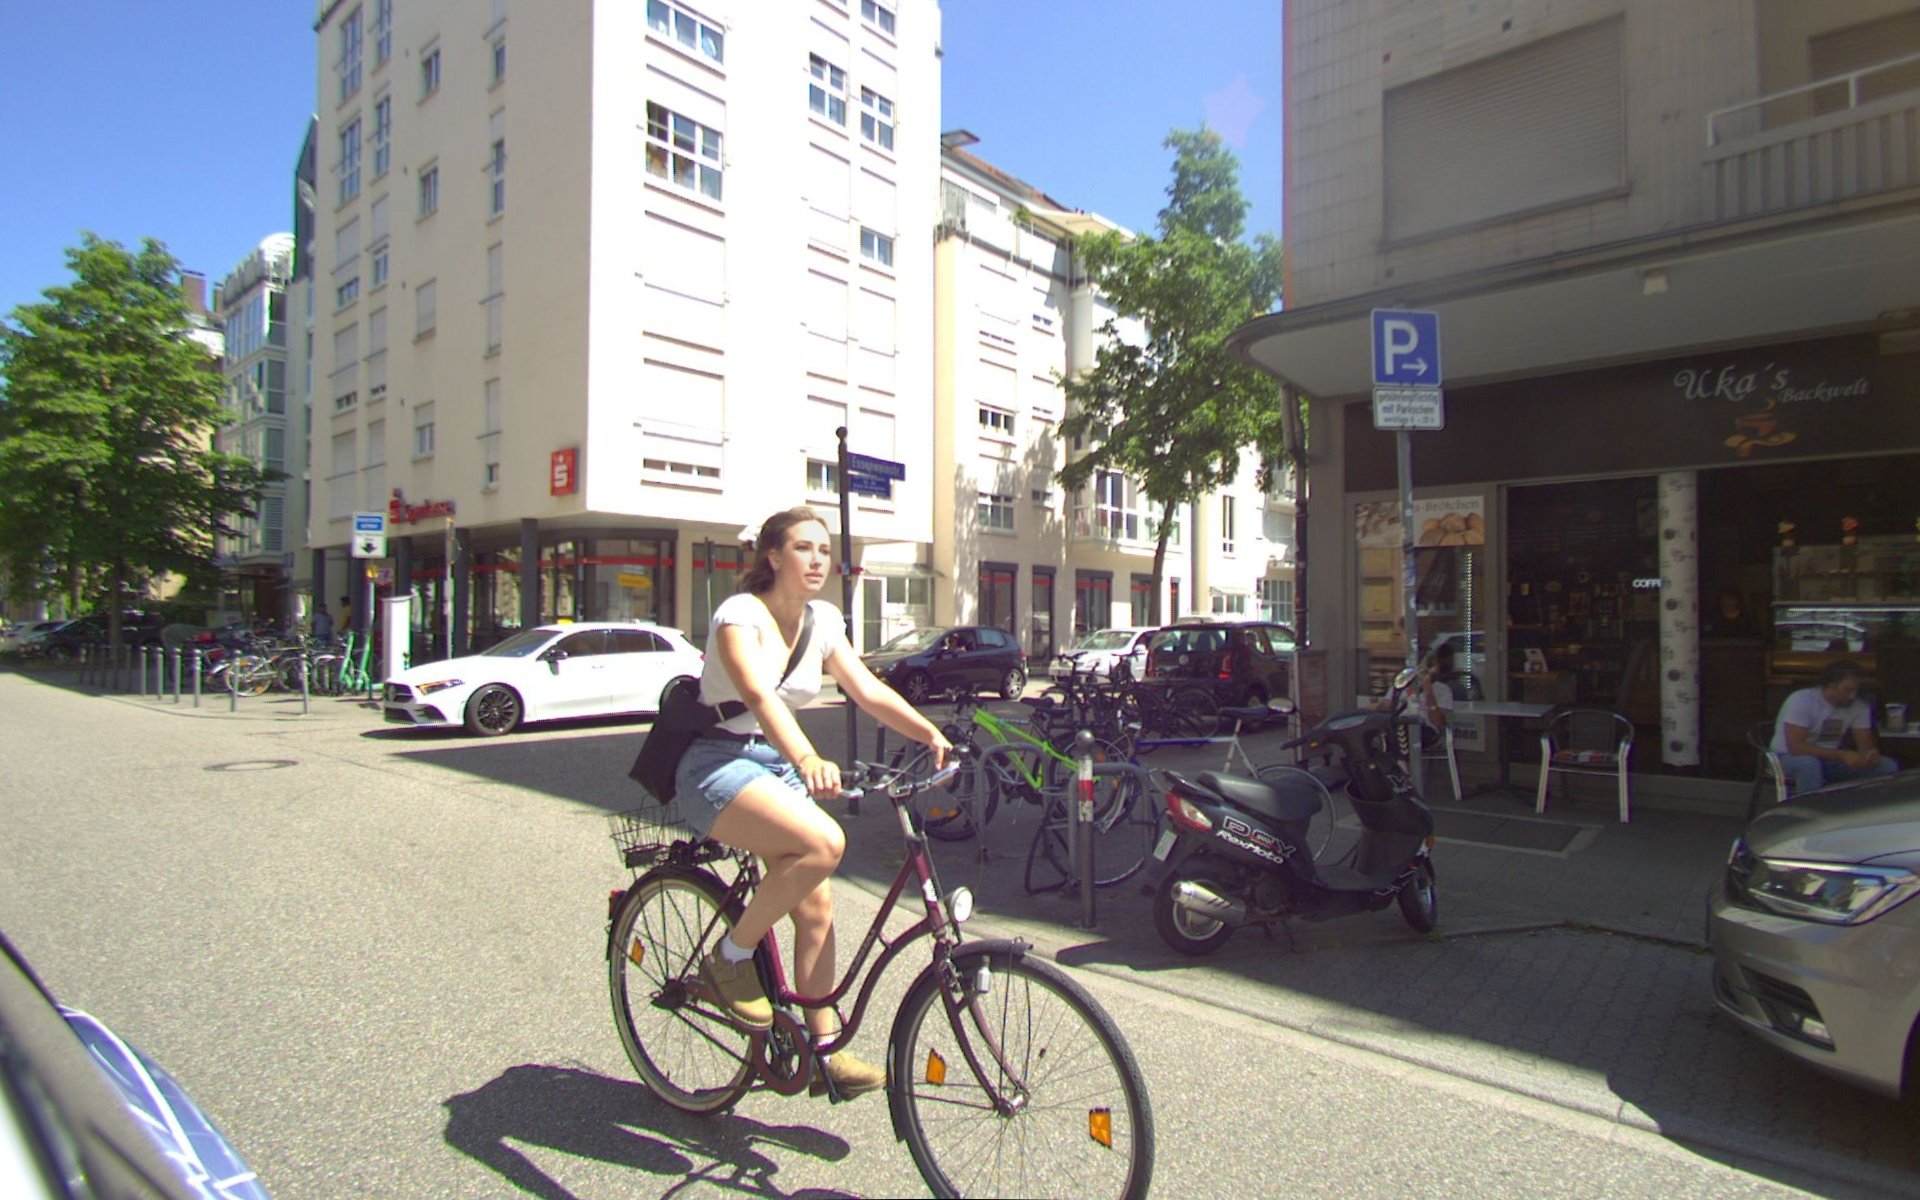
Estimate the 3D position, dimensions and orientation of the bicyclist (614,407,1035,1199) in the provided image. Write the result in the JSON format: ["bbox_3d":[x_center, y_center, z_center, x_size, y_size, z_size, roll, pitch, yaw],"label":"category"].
[{"bbox_3d":[-0.374,0.462,2.688,0.978,1.719,0.616,-1,-2,41],"label":"bicyclist"}]

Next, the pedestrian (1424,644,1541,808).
[{"bbox_3d":[4.084,0.947,7.915,0.698,1.189,0.585,-1,-2,39],"label":"pedestrian"}]

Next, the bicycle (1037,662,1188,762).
[{"bbox_3d":[1.657,1.205,11.195,1.711,0.964,0.405,-1,-1,42],"label":"bicycle"}]

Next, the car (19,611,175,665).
[{"bbox_3d":[-29.557,1.275,34.739,1.651,1.760,3.835,-1,-2,40],"label":"car"}]

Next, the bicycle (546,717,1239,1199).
[{"bbox_3d":[-0.313,0.935,2.628,1.939,1.100,0.596,-1,-2,41],"label":"bicycle"}]

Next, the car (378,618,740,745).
[{"bbox_3d":[-5.235,0.984,13.662,1.815,1.436,4.182,-1,-2,42],"label":"car"}]

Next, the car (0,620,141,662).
[{"bbox_3d":[-33.680,1.536,38.355,1.651,1.507,3.835,-1,-2,40],"label":"car"}]

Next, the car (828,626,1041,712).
[{"bbox_3d":[-0.402,1.218,19.050,3.834,1.436,1.816,2,-2,-45],"label":"car"}]

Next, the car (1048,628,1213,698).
[{"bbox_3d":[3.934,1.360,23.016,3.834,1.436,1.816,2,-2,-45],"label":"car"}]

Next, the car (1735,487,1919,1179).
[{"bbox_3d":[4.687,0.587,2.001,4.898,1.843,1.770,-1,-1,41],"label":"car"}]

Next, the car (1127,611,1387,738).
[{"bbox_3d":[4.282,0.975,14.221,1.999,1.441,3.946,-5,-3,41],"label":"car"}]

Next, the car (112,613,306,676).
[{"bbox_3d":[-19.788,1.148,26.793,1.651,1.541,3.835,-1,-2,40],"label":"car"}]

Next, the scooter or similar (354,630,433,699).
[{"bbox_3d":[-10.036,1.129,17.960,0.289,1.176,1.177,-1,-2,39],"label":"scooter or similar"}]

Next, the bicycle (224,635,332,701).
[{"bbox_3d":[-12.464,1.226,18.523,1.586,1.099,0.371,-1,0,-44],"label":"bicycle"}]

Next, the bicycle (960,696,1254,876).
[{"bbox_3d":[0.865,1.089,6.070,1.684,0.964,0.411,0,-1,-6],"label":"bicycle"}]

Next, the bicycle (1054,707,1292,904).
[{"bbox_3d":[1.132,1.081,5.440,1.194,0.964,0.337,0,-1,-6],"label":"bicycle"}]

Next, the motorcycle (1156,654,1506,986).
[{"bbox_3d":[1.663,0.916,4.517,1.530,1.293,0.394,0,0,-17],"label":"motorcycle"}]

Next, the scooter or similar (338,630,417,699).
[{"bbox_3d":[-10.413,1.135,18.117,0.289,1.176,1.177,-1,-2,39],"label":"scooter or similar"}]

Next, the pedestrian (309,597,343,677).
[{"bbox_3d":[-17.374,1.010,27.733,0.605,2.141,0.492,-1,-2,22],"label":"pedestrian"}]

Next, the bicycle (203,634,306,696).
[{"bbox_3d":[-13.628,1.241,19.575,1.586,1.099,0.371,-1,0,-44],"label":"bicycle"}]

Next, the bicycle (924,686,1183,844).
[{"bbox_3d":[0.616,1.091,6.846,1.684,0.964,0.411,0,-1,-6],"label":"bicycle"}]

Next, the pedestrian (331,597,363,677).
[{"bbox_3d":[-16.548,0.999,27.333,0.599,2.141,0.496,0,-2,-13],"label":"pedestrian"}]

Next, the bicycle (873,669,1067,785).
[{"bbox_3d":[0.092,1.116,9.026,1.692,0.964,0.409,0,-1,9],"label":"bicycle"}]

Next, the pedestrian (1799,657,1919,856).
[{"bbox_3d":[5.544,0.928,6.168,0.504,1.135,0.496,-1,-2,21],"label":"pedestrian"}]

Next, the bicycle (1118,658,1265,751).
[{"bbox_3d":[2.705,1.201,11.940,1.711,0.964,0.405,-1,-1,42],"label":"bicycle"}]
